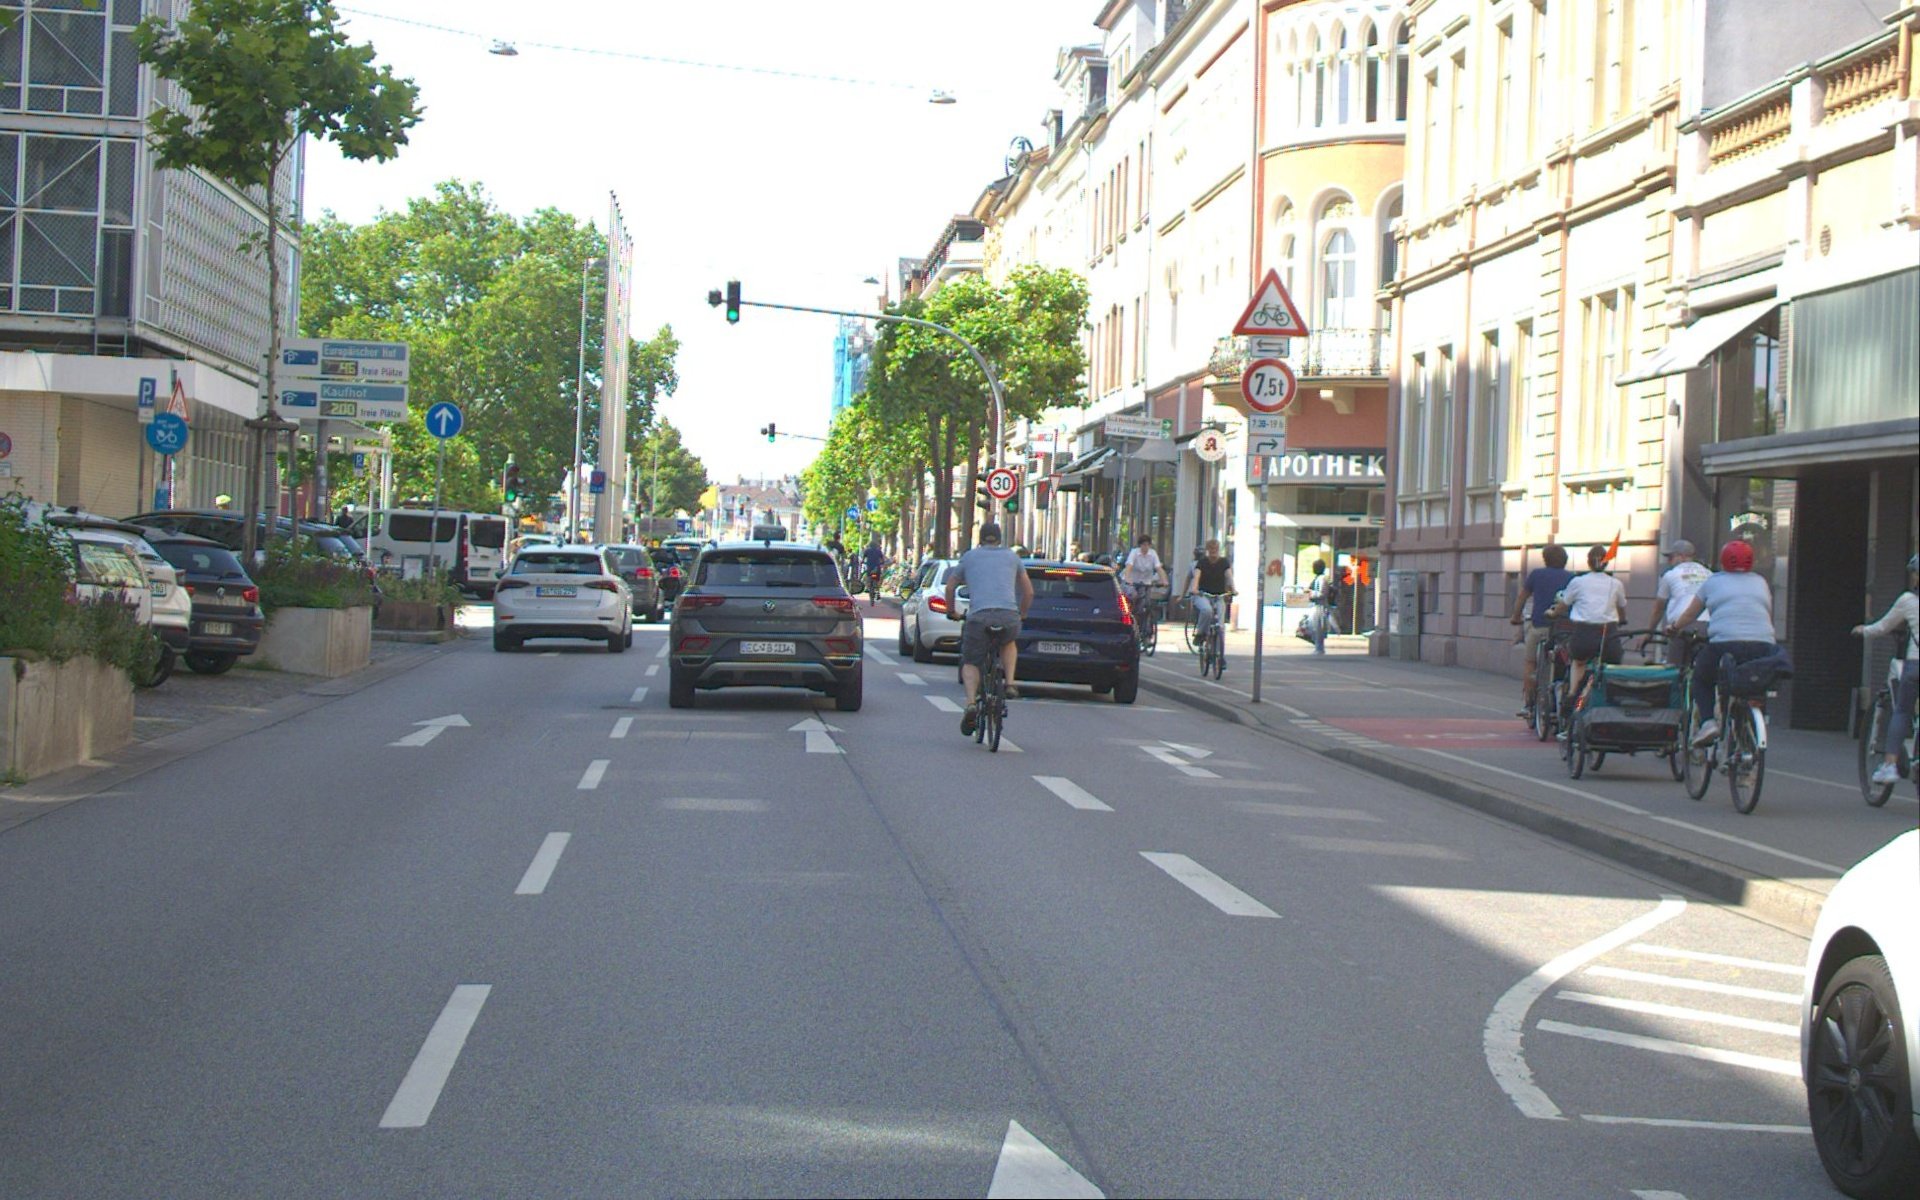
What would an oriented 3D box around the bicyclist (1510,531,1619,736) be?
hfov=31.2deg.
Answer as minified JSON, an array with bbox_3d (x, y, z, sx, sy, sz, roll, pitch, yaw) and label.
[{"bbox_3d":[4.826,0.263,27.486,0.632,1.590,0.920,2,0,-2],"label":"bicyclist"}]

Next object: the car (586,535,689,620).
[{"bbox_3d":[-5.823,-0.438,62.467,1.743,1.436,4.001,2,1,-4],"label":"car"}]

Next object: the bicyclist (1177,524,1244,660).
[{"bbox_3d":[3.164,-0.093,43.435,0.694,1.668,0.835,2,-2,-3],"label":"bicyclist"}]

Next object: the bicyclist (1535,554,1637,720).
[{"bbox_3d":[4.842,0.281,26.606,0.623,1.244,0.608,2,1,-2],"label":"bicyclist"}]

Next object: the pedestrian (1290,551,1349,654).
[{"bbox_3d":[6.097,0.041,58.310,0.791,1.714,0.730,1,1,-8],"label":"pedestrian"}]

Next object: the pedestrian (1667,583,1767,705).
[{"bbox_3d":[7.927,0.459,36.033,0.936,1.264,0.567,0,1,3],"label":"pedestrian"}]

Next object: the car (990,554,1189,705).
[{"bbox_3d":[1.389,0.294,38.035,1.822,1.404,3.187,5,1,-3],"label":"car"}]

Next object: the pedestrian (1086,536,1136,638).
[{"bbox_3d":[2.729,-0.236,62.045,0.727,1.803,0.653,2,1,14],"label":"pedestrian"}]

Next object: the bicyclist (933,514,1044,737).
[{"bbox_3d":[0.217,0.186,27.059,0.694,1.668,0.916,4,2,-3],"label":"bicyclist"}]

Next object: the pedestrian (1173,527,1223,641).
[{"bbox_3d":[3.806,-0.263,55.108,0.652,1.803,0.729,1,1,-5],"label":"pedestrian"}]

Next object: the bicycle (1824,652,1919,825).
[{"bbox_3d":[6.124,0.872,21.995,0.563,0.993,2.103,2,1,-2],"label":"bicycle"}]

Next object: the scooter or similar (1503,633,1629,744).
[{"bbox_3d":[5.406,0.780,30.738,0.853,0.916,1.164,2,1,-2],"label":"scooter or similar"}]

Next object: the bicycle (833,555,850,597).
[{"bbox_3d":[-3.290,-0.664,95.316,0.419,1.131,1.910,2,1,-2],"label":"bicycle"}]

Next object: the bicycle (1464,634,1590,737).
[{"bbox_3d":[5.330,0.791,32.436,0.740,0.876,2.138,2,1,-2],"label":"bicycle"}]

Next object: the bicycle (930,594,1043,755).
[{"bbox_3d":[0.190,0.564,27.168,0.664,1.116,2.244,4,1,-4],"label":"bicycle"}]

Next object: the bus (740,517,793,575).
[{"bbox_3d":[-12.639,-3.550,223.553,2.769,3.593,8.976,2,1,-7],"label":"bus"}]

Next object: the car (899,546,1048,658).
[{"bbox_3d":[0.140,-0.003,47.782,1.822,1.380,4.001,2,2,-3],"label":"car"}]

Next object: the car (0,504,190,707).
[{"bbox_3d":[-8.586,-0.102,28.085,3.990,1.485,1.782,6,1,14],"label":"car"}]

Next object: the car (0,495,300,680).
[{"bbox_3d":[-8.813,-0.191,34.883,3.995,1.454,1.666,8,1,33],"label":"car"}]

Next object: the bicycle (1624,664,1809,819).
[{"bbox_3d":[4.916,0.901,22.474,0.647,0.876,2.103,2,1,-2],"label":"bicycle"}]

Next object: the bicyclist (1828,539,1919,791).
[{"bbox_3d":[6.066,0.409,22.255,0.582,1.589,0.920,2,1,-2],"label":"bicyclist"}]

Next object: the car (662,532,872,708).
[{"bbox_3d":[-1.846,0.148,32.676,1.833,1.522,4.001,1,1,-4],"label":"car"}]

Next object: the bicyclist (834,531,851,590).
[{"bbox_3d":[-3.257,-1.095,95.171,0.419,1.624,0.669,2,1,-2],"label":"bicyclist"}]

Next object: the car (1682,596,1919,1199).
[{"bbox_3d":[3.216,0.856,7.406,1.812,1.461,4.581,4,2,-6],"label":"car"}]

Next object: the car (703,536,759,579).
[{"bbox_3d":[-8.056,-1.505,120.639,1.862,1.436,4.001,2,1,-5],"label":"car"}]

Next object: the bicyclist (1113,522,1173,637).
[{"bbox_3d":[2.760,-0.312,51.960,0.694,1.667,0.835,5,2,-3],"label":"bicyclist"}]

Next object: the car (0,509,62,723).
[{"bbox_3d":[-8.803,-0.096,25.202,3.986,1.495,1.718,6,0,-7],"label":"car"}]

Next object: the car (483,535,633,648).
[{"bbox_3d":[-5.490,-0.143,47.303,1.862,1.436,4.001,2,1,-5],"label":"car"}]

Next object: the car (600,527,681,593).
[{"bbox_3d":[-7.387,-0.938,79.798,1.743,1.436,4.001,2,1,-4],"label":"car"}]

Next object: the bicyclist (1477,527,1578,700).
[{"bbox_3d":[5.360,0.118,32.505,0.709,1.589,0.963,2,1,-2],"label":"bicyclist"}]

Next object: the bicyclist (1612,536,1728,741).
[{"bbox_3d":[5.675,0.299,27.515,0.658,1.589,0.920,2,1,-2],"label":"bicyclist"}]

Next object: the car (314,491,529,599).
[{"bbox_3d":[-12.338,-1.261,78.674,4.719,1.996,1.937,6,0,36],"label":"car"}]

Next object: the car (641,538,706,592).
[{"bbox_3d":[-8.070,-1.000,97.159,1.743,1.436,4.001,2,1,-4],"label":"car"}]

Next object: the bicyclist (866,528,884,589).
[{"bbox_3d":[-2.307,-1.124,92.956,0.419,1.624,0.709,2,1,-2],"label":"bicyclist"}]

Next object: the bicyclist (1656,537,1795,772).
[{"bbox_3d":[4.948,0.339,22.271,0.625,1.471,0.889,2,1,-2],"label":"bicyclist"}]

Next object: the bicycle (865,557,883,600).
[{"bbox_3d":[-2.322,-0.587,92.886,0.419,1.131,1.910,2,1,-2],"label":"bicycle"}]

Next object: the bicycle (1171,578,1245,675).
[{"bbox_3d":[3.124,0.320,43.491,0.555,1.116,2.244,4,1,-4],"label":"bicycle"}]

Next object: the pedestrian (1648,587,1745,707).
[{"bbox_3d":[7.879,0.499,36.793,0.936,1.264,0.567,0,1,3],"label":"pedestrian"}]

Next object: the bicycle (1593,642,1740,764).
[{"bbox_3d":[5.653,0.811,27.609,0.647,0.876,2.103,2,1,-2],"label":"bicycle"}]

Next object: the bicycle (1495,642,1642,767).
[{"bbox_3d":[4.805,0.808,27.292,0.647,0.876,2.389,2,1,-2],"label":"bicycle"}]

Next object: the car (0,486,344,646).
[{"bbox_3d":[-9.670,-0.417,41.895,3.986,1.495,1.718,6,0,-5],"label":"car"}]

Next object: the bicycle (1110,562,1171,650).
[{"bbox_3d":[2.702,0.079,51.702,0.555,1.205,2.244,5,1,-4],"label":"bicycle"}]

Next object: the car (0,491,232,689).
[{"bbox_3d":[-8.942,-0.218,31.598,3.992,1.563,1.698,7,1,21],"label":"car"}]

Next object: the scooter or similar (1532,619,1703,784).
[{"bbox_3d":[4.814,0.727,25.276,0.870,1.118,1.621,1,1,-2],"label":"scooter or similar"}]

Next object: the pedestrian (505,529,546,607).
[{"bbox_3d":[-9.142,-0.676,72.338,0.612,1.610,0.550,3,-1,-33],"label":"pedestrian"}]
